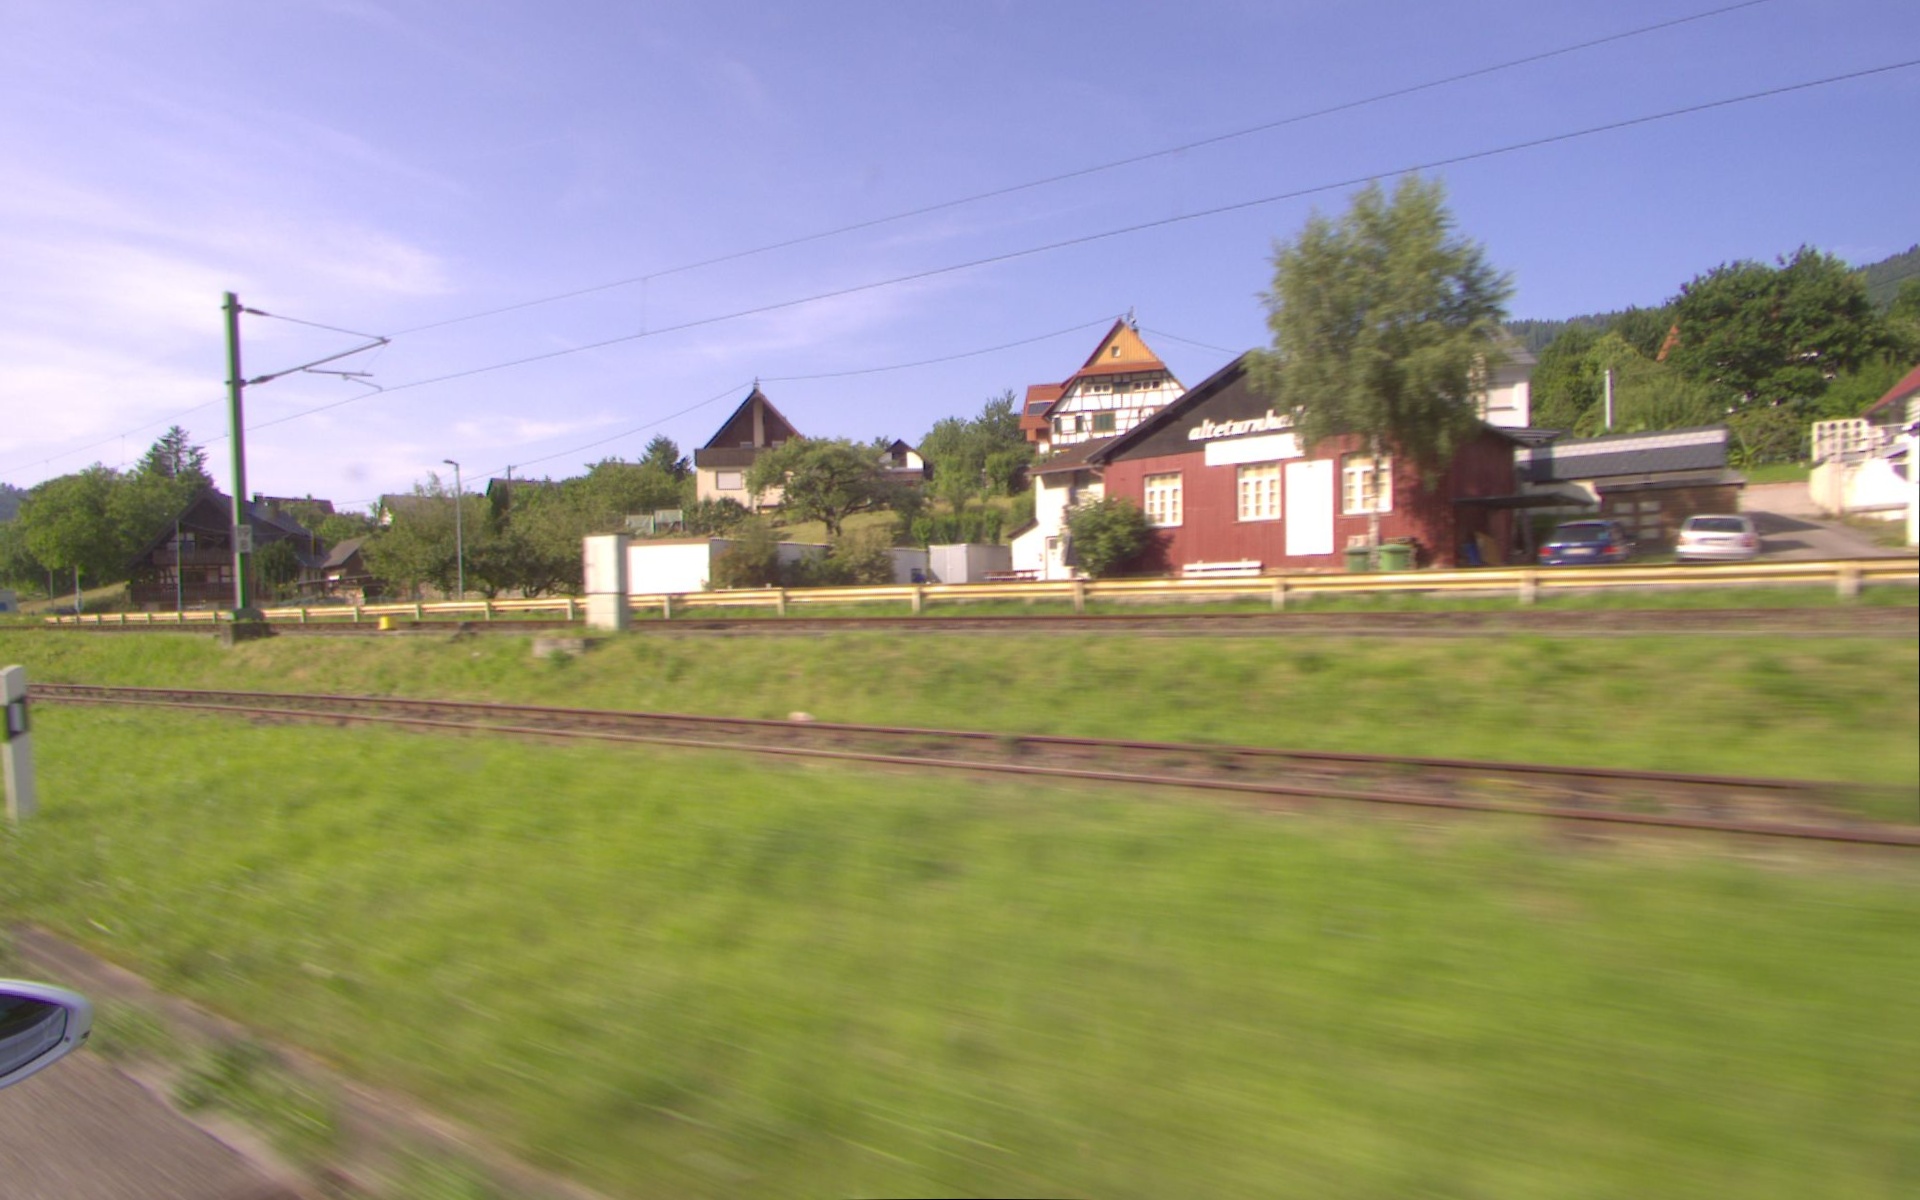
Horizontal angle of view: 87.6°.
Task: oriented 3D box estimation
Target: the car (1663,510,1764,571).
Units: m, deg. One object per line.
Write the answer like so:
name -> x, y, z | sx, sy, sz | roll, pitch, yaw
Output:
car -> 19.500, -1.553, 26.050 | 1.800, 1.395, 3.975 | 0, 3, 33

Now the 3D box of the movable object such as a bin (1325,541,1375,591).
movable object such as a bin -> 8.782, -0.748, 22.549 | 0.899, 1.064, 0.806 | 0, -1, 33

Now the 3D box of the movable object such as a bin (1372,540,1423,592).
movable object such as a bin -> 9.640, -0.734, 22.057 | 0.899, 1.064, 0.806 | 0, -1, 33

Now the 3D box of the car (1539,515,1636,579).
car -> 15.354, -1.294, 24.402 | 1.801, 1.395, 3.972 | 0, 3, 35
